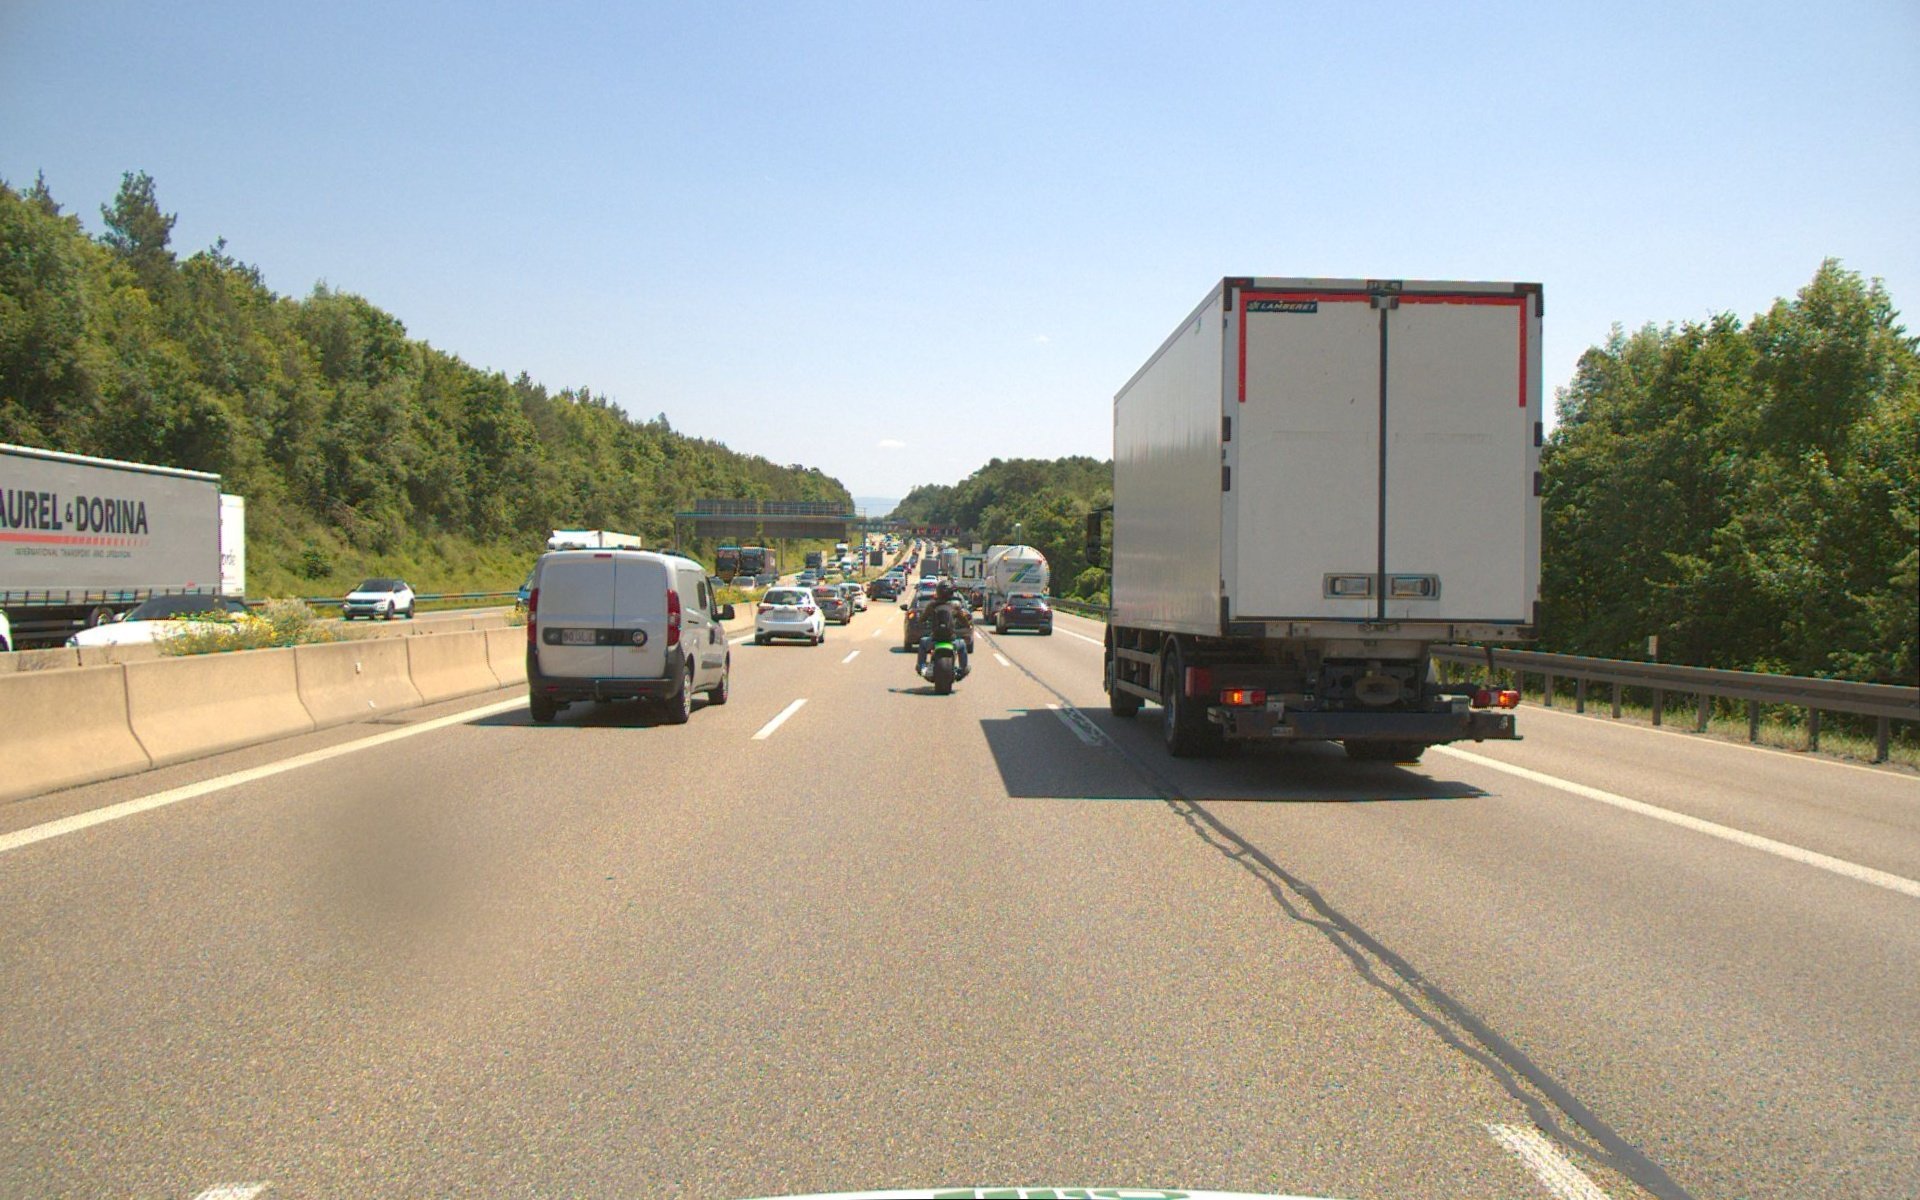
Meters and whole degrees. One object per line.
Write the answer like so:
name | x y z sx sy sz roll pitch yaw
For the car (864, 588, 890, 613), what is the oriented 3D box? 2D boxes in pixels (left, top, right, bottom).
car | -6.803 0.041 135.757 1.953 2.049 3.999 -1 0 -1

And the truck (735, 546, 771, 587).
truck | -21.447 -3.446 171.796 2.847 4.043 7.767 -1 0 -1

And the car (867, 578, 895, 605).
car | -5.778 -0.614 121.449 1.842 1.892 4.000 1 1 -1

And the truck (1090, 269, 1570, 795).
truck | 3.220 -0.553 17.535 2.634 3.944 9.778 -2 0 -1

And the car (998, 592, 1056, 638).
car | 2.335 0.492 58.803 1.791 1.496 3.999 2 1 -1

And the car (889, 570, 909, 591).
car | -6.403 -2.020 173.680 1.890 2.049 3.999 -1 0 -1

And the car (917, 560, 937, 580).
car | -4.331 -3.930 216.939 2.453 2.632 5.015 1 1 -1

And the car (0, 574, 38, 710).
car | -14.926 0.627 22.721 1.953 1.983 4.747 -1 0 -2

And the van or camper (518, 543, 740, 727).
van or camper | -3.809 0.384 19.731 1.759 1.925 4.160 1 0 0

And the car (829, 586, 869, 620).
car | -5.227 0.126 78.449 1.665 1.504 3.999 1 1 -1

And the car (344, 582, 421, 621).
car | -22.890 0.039 65.699 1.633 1.492 4.189 0 0 -1

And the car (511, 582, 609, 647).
car | -12.292 0.438 51.104 1.873 1.879 5.035 -1 0 -1

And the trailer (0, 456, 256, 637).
trailer | -22.606 -1.185 44.057 2.751 4.118 12.620 -1 0 -2

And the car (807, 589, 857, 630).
car | -4.920 0.336 64.129 1.665 1.504 3.999 1 1 -1

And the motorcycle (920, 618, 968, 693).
motorcycle | -0.235 0.817 25.138 0.677 1.033 2.121 1 0 0

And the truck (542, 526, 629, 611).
truck | -19.548 -1.555 86.752 2.745 4.238 7.600 -1 0 1

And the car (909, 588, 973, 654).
car | -0.508 0.493 41.746 1.502 1.536 3.999 -1 0 -2

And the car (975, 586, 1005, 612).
car | 1.890 -0.102 105.068 1.751 1.583 3.803 1 1 -1

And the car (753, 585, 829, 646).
car | -4.469 0.383 44.254 1.665 1.504 3.999 1 1 -1

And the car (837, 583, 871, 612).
car | -5.763 -0.167 90.114 1.665 1.504 3.999 1 1 -1

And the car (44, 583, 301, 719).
car | -11.610 0.701 24.717 1.953 1.825 3.999 -1 0 -1

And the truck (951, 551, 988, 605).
truck | 0.839 -2.004 150.695 2.972 4.621 9.981 2 1 -1

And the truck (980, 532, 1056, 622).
truck | 2.516 -0.971 74.870 2.927 3.735 9.285 -1 0 -1

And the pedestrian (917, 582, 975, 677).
pedestrian | -0.201 0.429 24.988 0.832 1.385 0.961 -1 0 0

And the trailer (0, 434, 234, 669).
trailer | -18.712 -0.846 32.217 2.777 4.238 14.735 -1 0 -1

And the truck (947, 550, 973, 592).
truck | -0.052 -3.709 213.916 2.972 5.229 9.981 2 1 -1

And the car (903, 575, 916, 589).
car | -7.758 -2.802 253.154 1.953 2.049 3.999 1 1 -1

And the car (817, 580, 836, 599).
car | -15.227 -1.221 189.056 1.841 2.049 4.467 -2 0 -1

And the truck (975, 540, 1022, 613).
truck | 1.929 -1.154 83.951 1.954 3.584 4.748 -1 0 -3
